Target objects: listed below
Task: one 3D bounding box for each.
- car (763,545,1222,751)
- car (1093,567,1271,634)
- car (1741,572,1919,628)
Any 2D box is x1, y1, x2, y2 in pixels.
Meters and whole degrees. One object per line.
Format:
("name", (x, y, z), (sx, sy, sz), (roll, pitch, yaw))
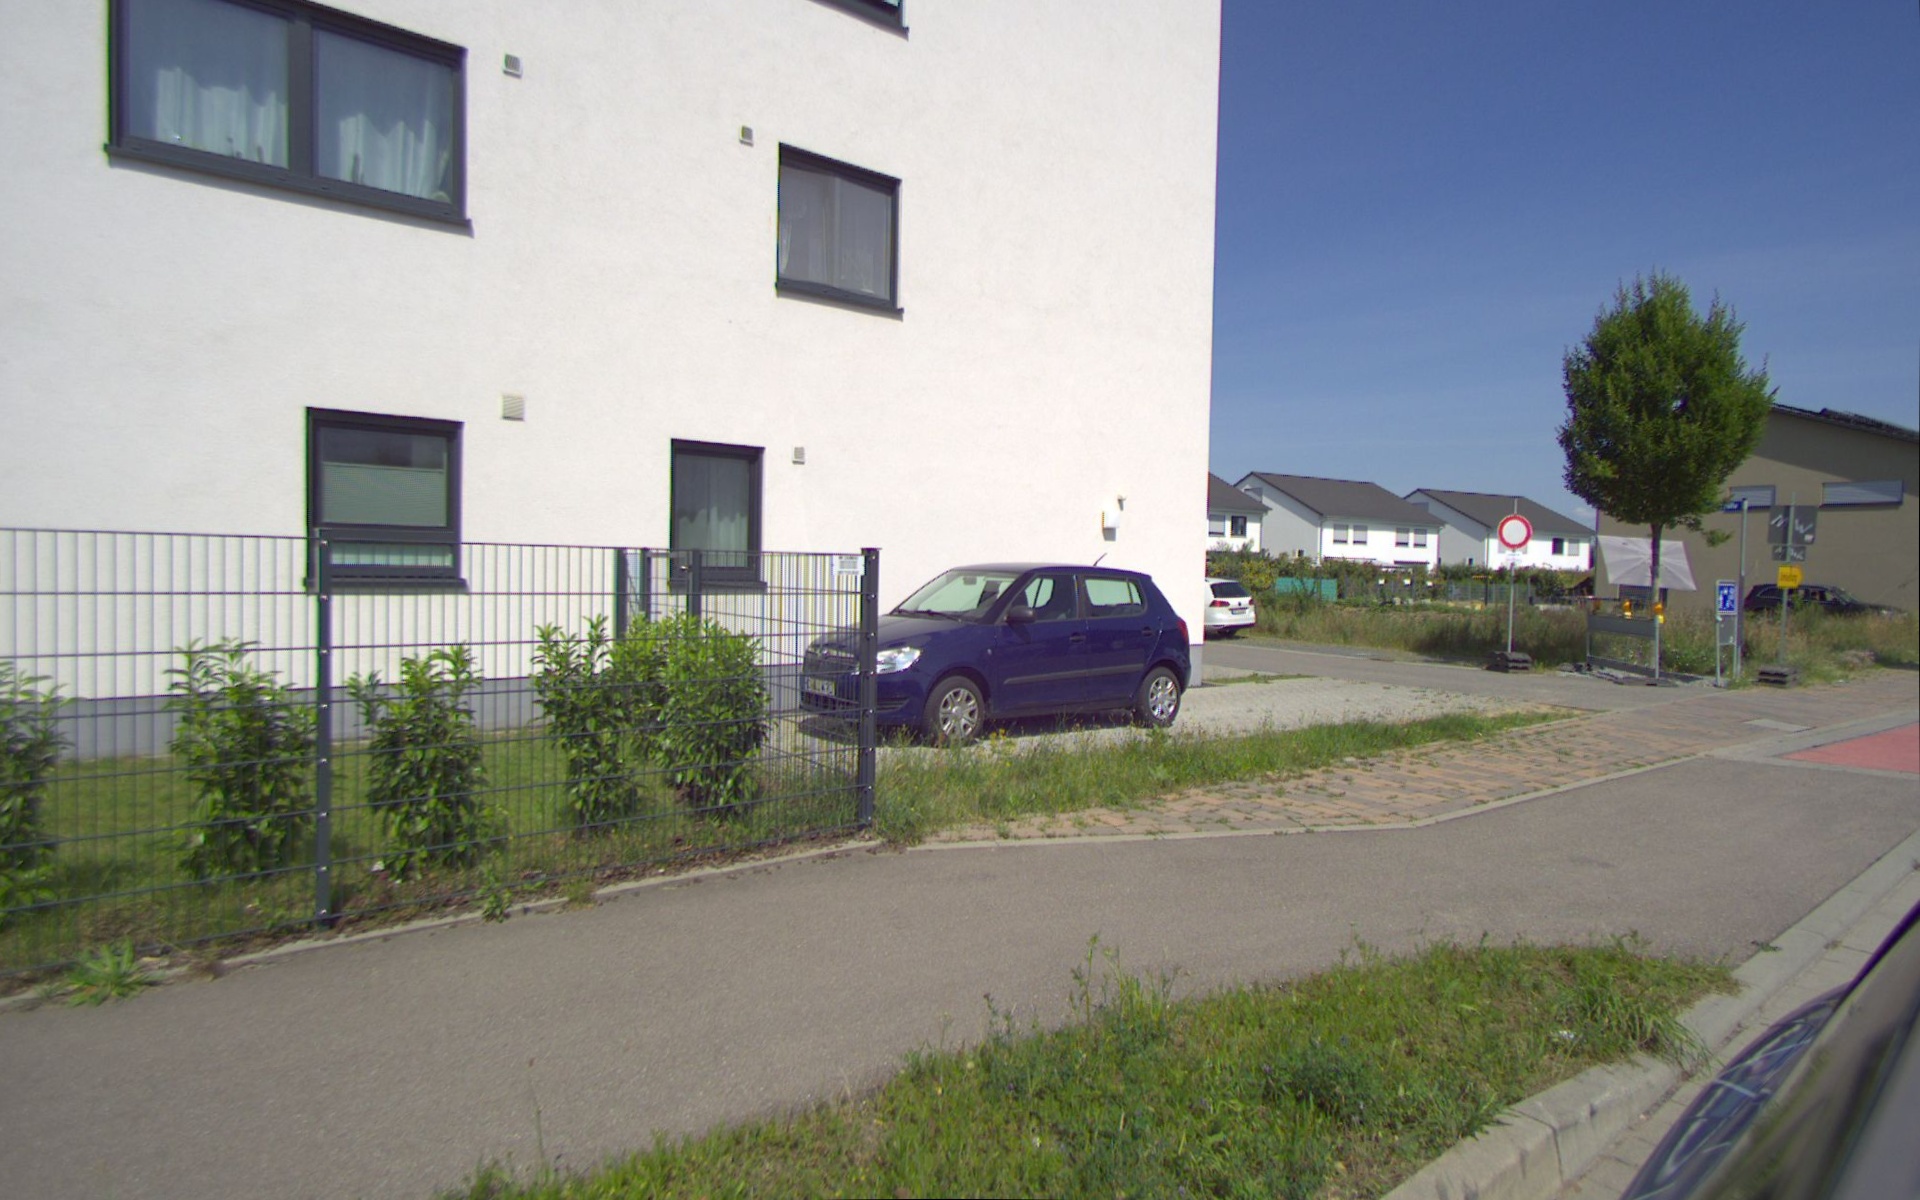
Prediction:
("car", (0.424, 0.335, 9.219), (4.041, 1.488, 1.682), (0, 1, -38))
("car", (5.440, -0.055, 25.302), (1.848, 1.453, 4.171), (-1, 3, -36))
("car", (30.784, -0.074, 35.649), (1.961, 1.664, 4.765), (-1, 4, -33))
